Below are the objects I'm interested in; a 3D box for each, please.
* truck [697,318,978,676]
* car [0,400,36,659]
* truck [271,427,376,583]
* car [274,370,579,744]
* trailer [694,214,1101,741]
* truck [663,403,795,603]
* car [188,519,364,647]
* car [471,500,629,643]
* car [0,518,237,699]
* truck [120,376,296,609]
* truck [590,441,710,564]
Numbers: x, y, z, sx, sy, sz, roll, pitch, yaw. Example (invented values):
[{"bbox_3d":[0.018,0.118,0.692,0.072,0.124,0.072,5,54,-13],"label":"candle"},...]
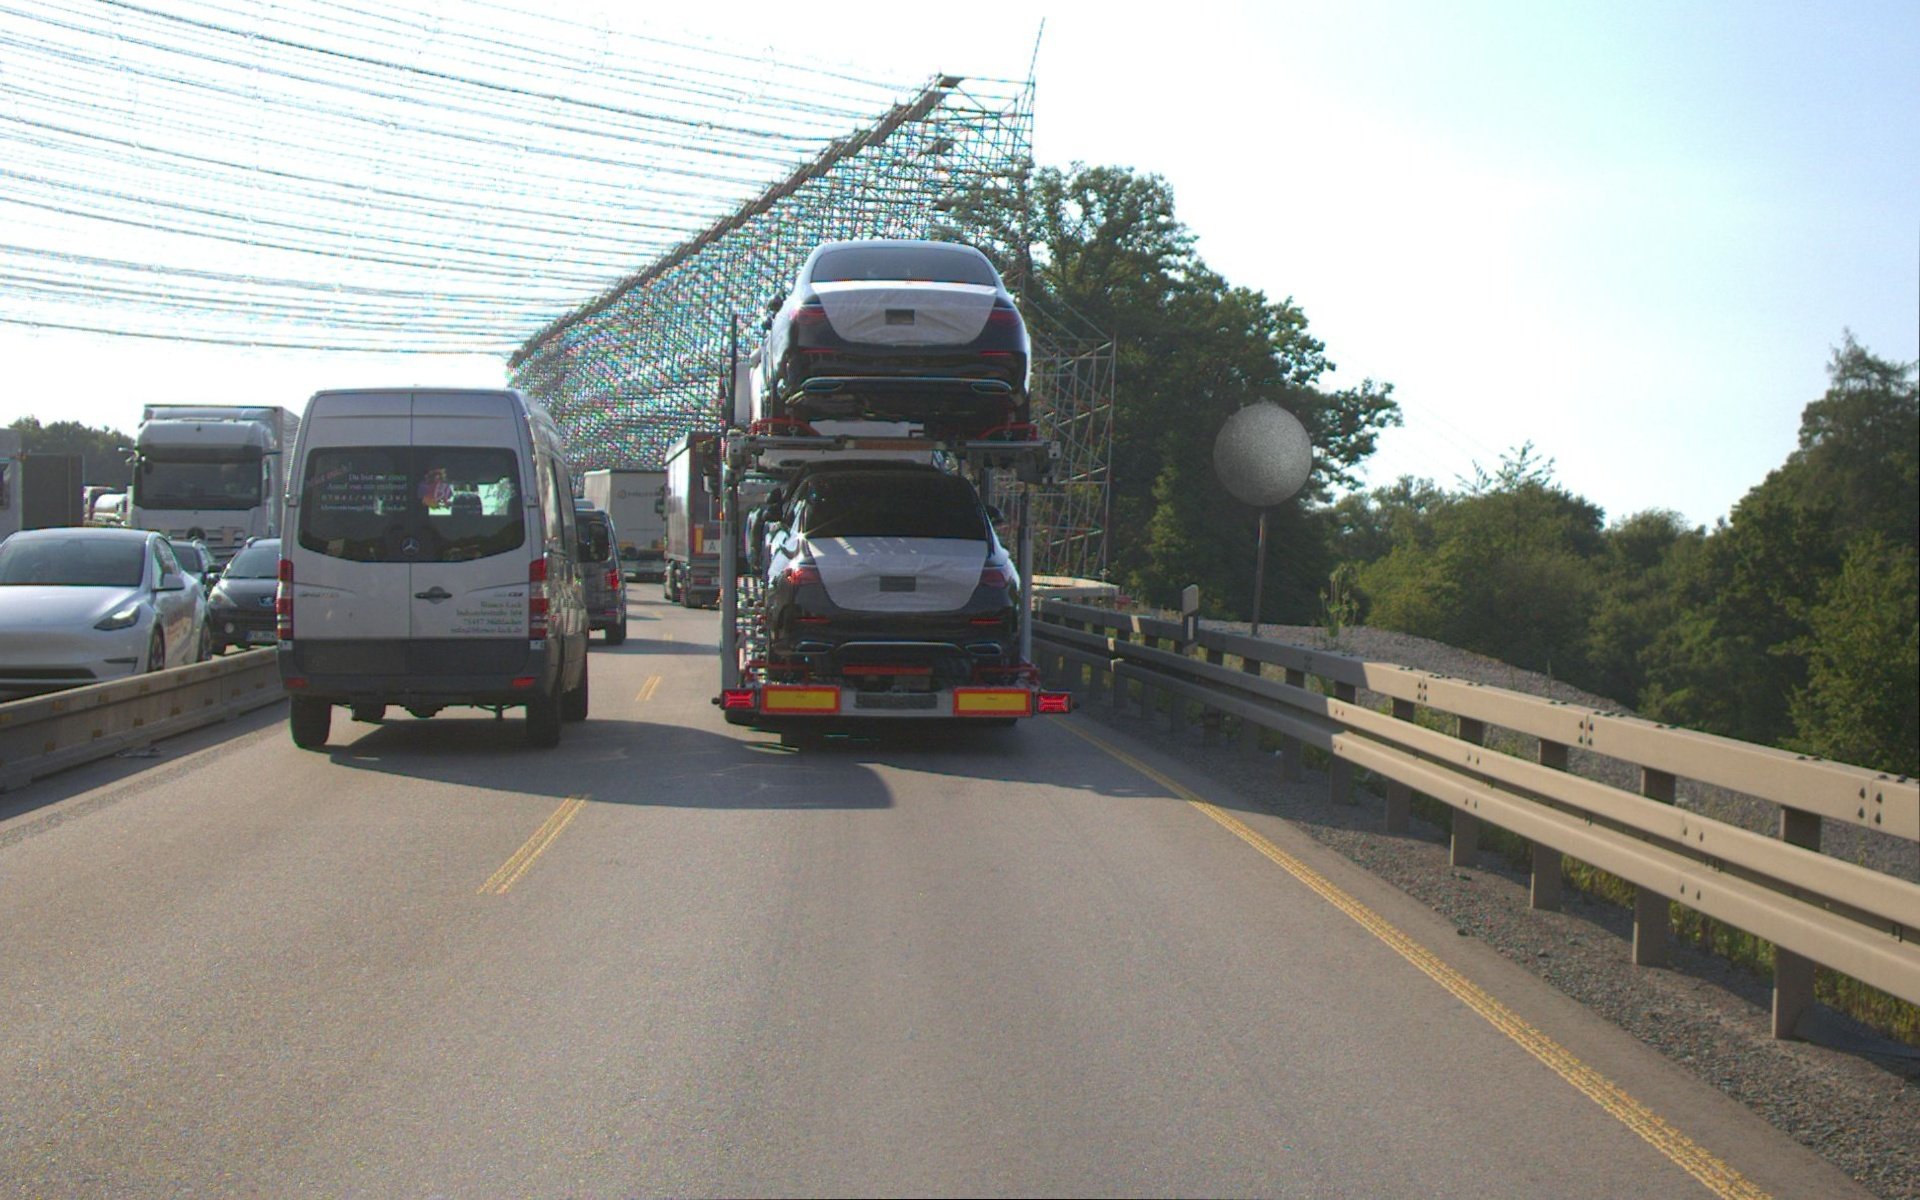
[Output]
[{"bbox_3d":[-1.495,-1.125,39.419,2.881,3.690,7.326,1,1,-3],"label":"truck"},{"bbox_3d":[-11.815,-0.768,36.659,2.334,2.908,7.634,0,1,-4],"label":"car"},{"bbox_3d":[-18.089,-2.679,97.970,2.744,4.285,5.935,0,1,-9],"label":"truck"},{"bbox_3d":[-3.957,-0.325,26.080,1.956,2.612,4.001,0,1,-4],"label":"car"},{"bbox_3d":[-0.966,-0.986,31.924,2.868,3.712,14.950,1,1,-4],"label":"trailer"},{"bbox_3d":[-5.644,-2.303,82.322,2.731,4.370,11.524,2,1,-5],"label":"truck"},{"bbox_3d":[-9.082,-0.257,45.907,1.781,1.516,4.001,2,2,-4],"label":"car"},{"bbox_3d":[-6.057,-0.429,51.141,1.993,2.007,4.000,1,1,-2],"label":"car"},{"bbox_3d":[-8.296,0.034,32.559,2.058,1.481,4.727,-2,2,-3],"label":"car"},{"bbox_3d":[-14.227,-1.997,65.387,2.712,4.203,5.684,0,1,-7],"label":"truck"},{"bbox_3d":[-11.704,-3.652,128.567,3.686,4.206,13.672,-2,2,-8],"label":"truck"}]
